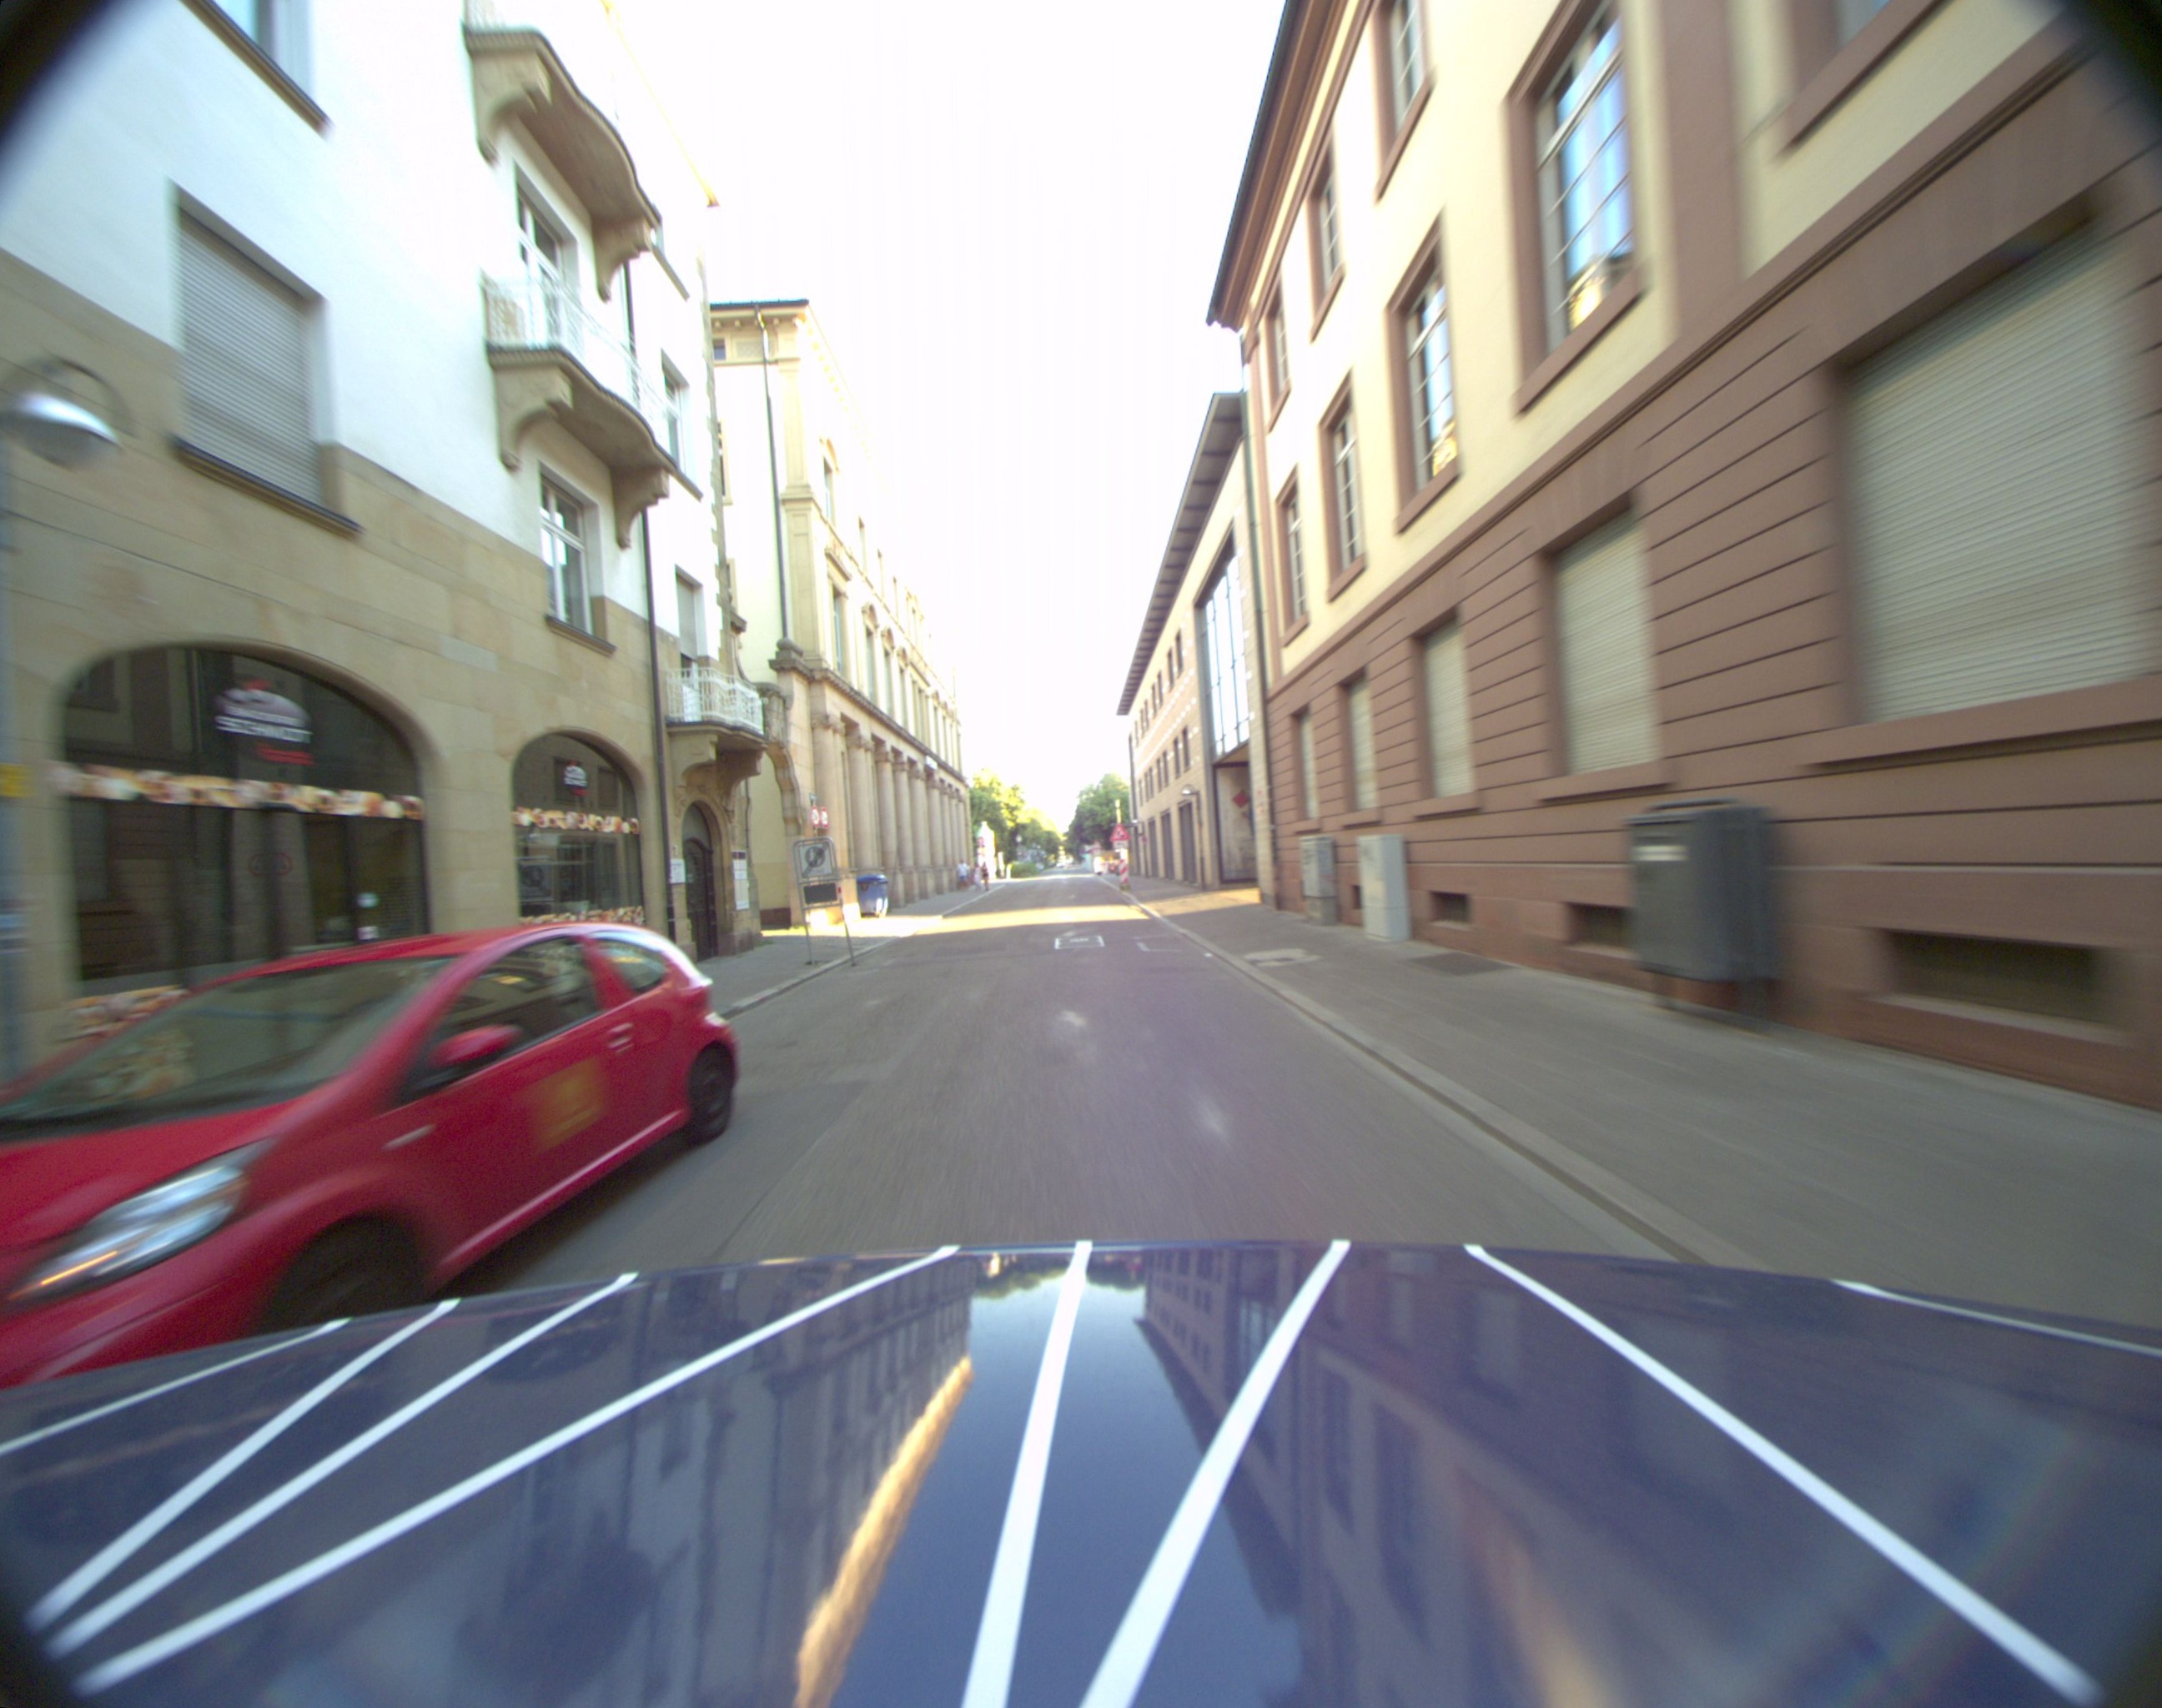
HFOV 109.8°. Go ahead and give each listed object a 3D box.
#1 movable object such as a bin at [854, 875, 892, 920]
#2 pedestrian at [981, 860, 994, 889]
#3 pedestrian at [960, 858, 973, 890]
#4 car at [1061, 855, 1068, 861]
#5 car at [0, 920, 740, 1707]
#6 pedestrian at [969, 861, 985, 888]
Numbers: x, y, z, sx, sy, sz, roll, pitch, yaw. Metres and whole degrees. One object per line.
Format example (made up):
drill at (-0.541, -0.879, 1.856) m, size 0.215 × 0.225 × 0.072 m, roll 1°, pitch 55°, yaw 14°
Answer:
movable object such as a bin at (-6.577, 1.361, 24.082) m, size 0.899 × 1.367 × 1.137 m, roll -1°, pitch 0°, yaw -2°
pedestrian at (-5.333, 1.166, 43.371) m, size 0.649 × 1.643 × 0.758 m, roll -1°, pitch 0°, yaw -3°
pedestrian at (-6.552, 1.124, 43.353) m, size 0.649 × 1.768 × 0.758 m, roll -1°, pitch 0°, yaw -3°
car at (-4.986, 1.201, 232.646) m, size 1.858 × 1.519 × 4.000 m, roll -3°, pitch 0°, yaw 0°
car at (-3.113, 1.245, 3.122) m, size 1.618 × 1.417 × 3.597 m, roll -8°, pitch 0°, yaw 0°
pedestrian at (-6.117, 1.198, 44.687) m, size 0.856 × 1.589 × 0.924 m, roll -1°, pitch 0°, yaw -3°
